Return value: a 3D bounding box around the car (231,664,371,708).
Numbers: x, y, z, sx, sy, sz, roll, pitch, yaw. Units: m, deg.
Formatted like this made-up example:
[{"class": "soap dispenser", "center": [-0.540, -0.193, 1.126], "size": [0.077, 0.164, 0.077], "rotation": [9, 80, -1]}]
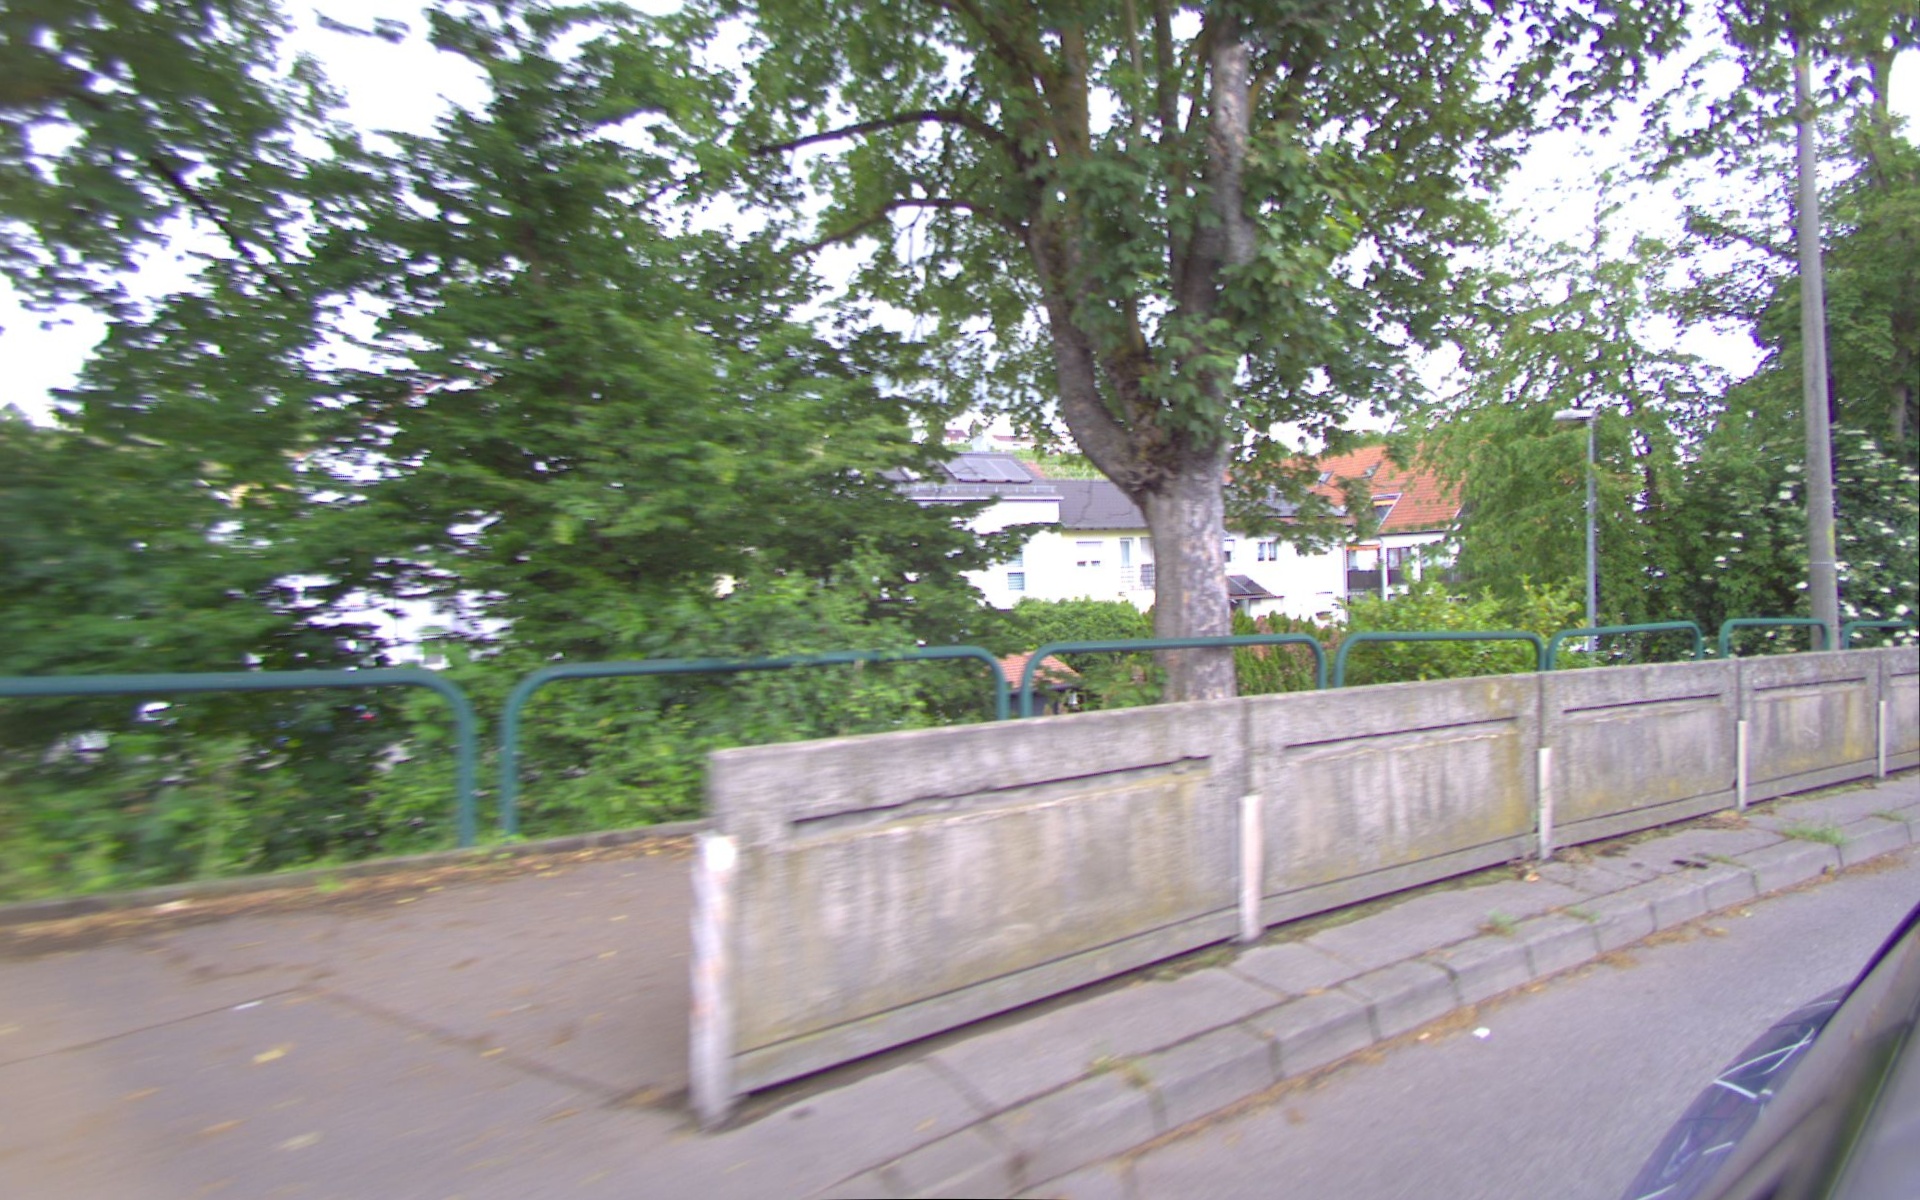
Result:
[{"class": "car", "center": [-20.709, 2.688, 31.909], "size": [3.314, 1.142, 1.701], "rotation": [0, 2, -5]}]
